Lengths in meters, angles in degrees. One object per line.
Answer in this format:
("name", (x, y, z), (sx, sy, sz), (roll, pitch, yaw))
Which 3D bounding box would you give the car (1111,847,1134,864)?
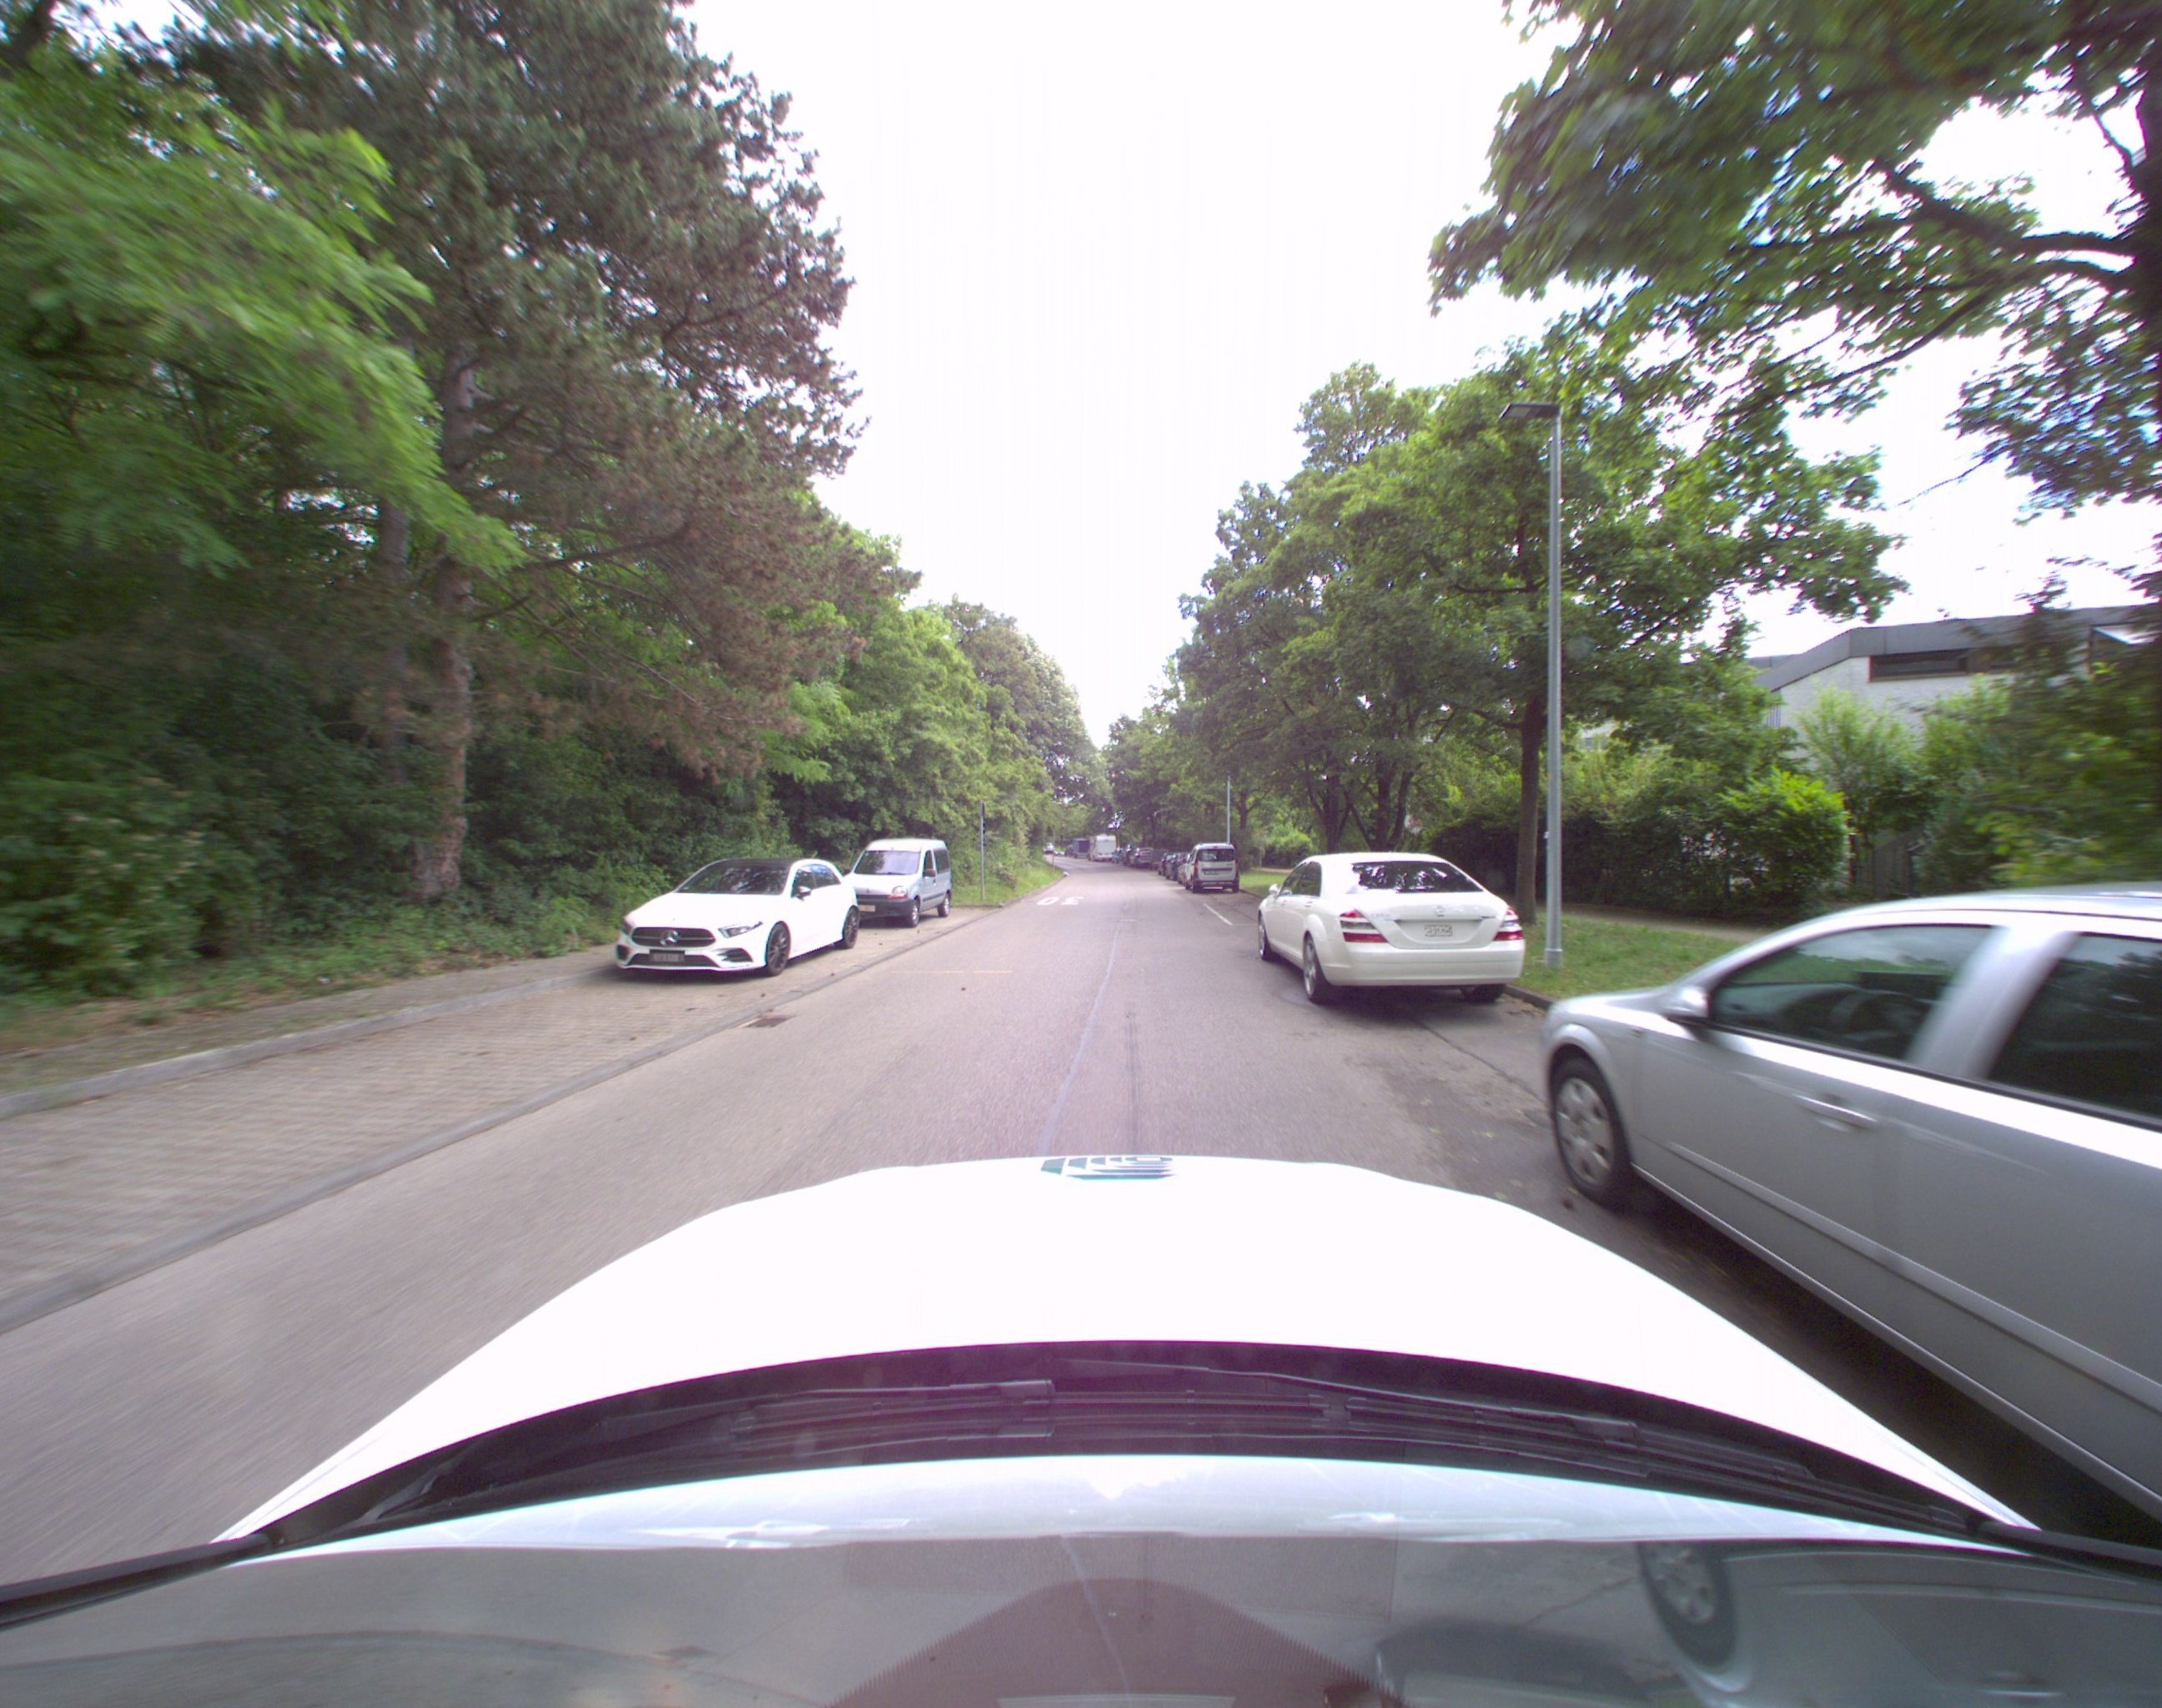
("car", (4.196, 0.141, 82.953), (1.798, 1.562, 3.827), (-1, 1, -7))

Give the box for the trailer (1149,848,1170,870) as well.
("trailer", (5.891, 0.355, 61.014), (1.275, 1.585, 2.459), (0, 0, -1))

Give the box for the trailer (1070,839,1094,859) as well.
("trailer", (0.076, -0.652, 103.832), (1.998, 2.398, 3.978), (-1, 1, -17))

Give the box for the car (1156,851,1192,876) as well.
("car", (5.683, 0.537, 50.233), (1.716, 1.453, 3.915), (0, 0, -1))

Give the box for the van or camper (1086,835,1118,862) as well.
("van or camper", (2.334, -0.652, 93.236), (2.481, 2.876, 6.869), (-1, 0, -9))

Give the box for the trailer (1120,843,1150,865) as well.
("trailer", (4.854, -0.044, 73.609), (1.975, 1.811, 5.141), (-1, 1, -4))

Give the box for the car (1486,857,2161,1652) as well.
("car", (2.942, 0.745, 2.352), (1.784, 1.411, 4.064), (-1, 0, 5))

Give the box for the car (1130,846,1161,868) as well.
("car", (5.257, 0.283, 67.275), (1.790, 1.670, 4.492), (-1, -1, -6))

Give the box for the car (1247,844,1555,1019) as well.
("car", (3.312, 0.667, 9.689), (1.878, 1.507, 5.180), (-1, 0, 3))

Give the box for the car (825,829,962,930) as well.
("car", (-3.963, 0.468, 17.939), (1.712, 1.921, 4.111), (1, 1, 5))

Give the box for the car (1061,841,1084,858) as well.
("car", (-1.175, -0.639, 109.177), (1.999, 2.025, 3.977), (-4, 3, -17))

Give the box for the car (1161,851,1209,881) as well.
("car", (5.387, 0.596, 42.657), (1.842, 1.474, 4.475), (0, 0, -2))

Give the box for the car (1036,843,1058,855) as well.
("car", (-5.102, -0.743, 121.946), (2.043, 1.803, 4.053), (-2, 1, -22))

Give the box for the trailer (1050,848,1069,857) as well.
("trailer", (-3.005, -0.240, 112.902), (1.654, 1.086, 3.981), (-3, 2, -14))

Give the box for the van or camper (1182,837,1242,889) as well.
("van or camper", (4.916, 0.375, 31.093), (1.794, 1.838, 4.323), (0, -1, 3))

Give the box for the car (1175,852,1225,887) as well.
("car", (5.332, 0.660, 36.881), (1.806, 1.437, 4.245), (1, 0, 2))

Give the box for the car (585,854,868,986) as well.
("car", (-4.510, 0.729, 11.222), (1.798, 1.403, 4.375), (1, 0, 3))
